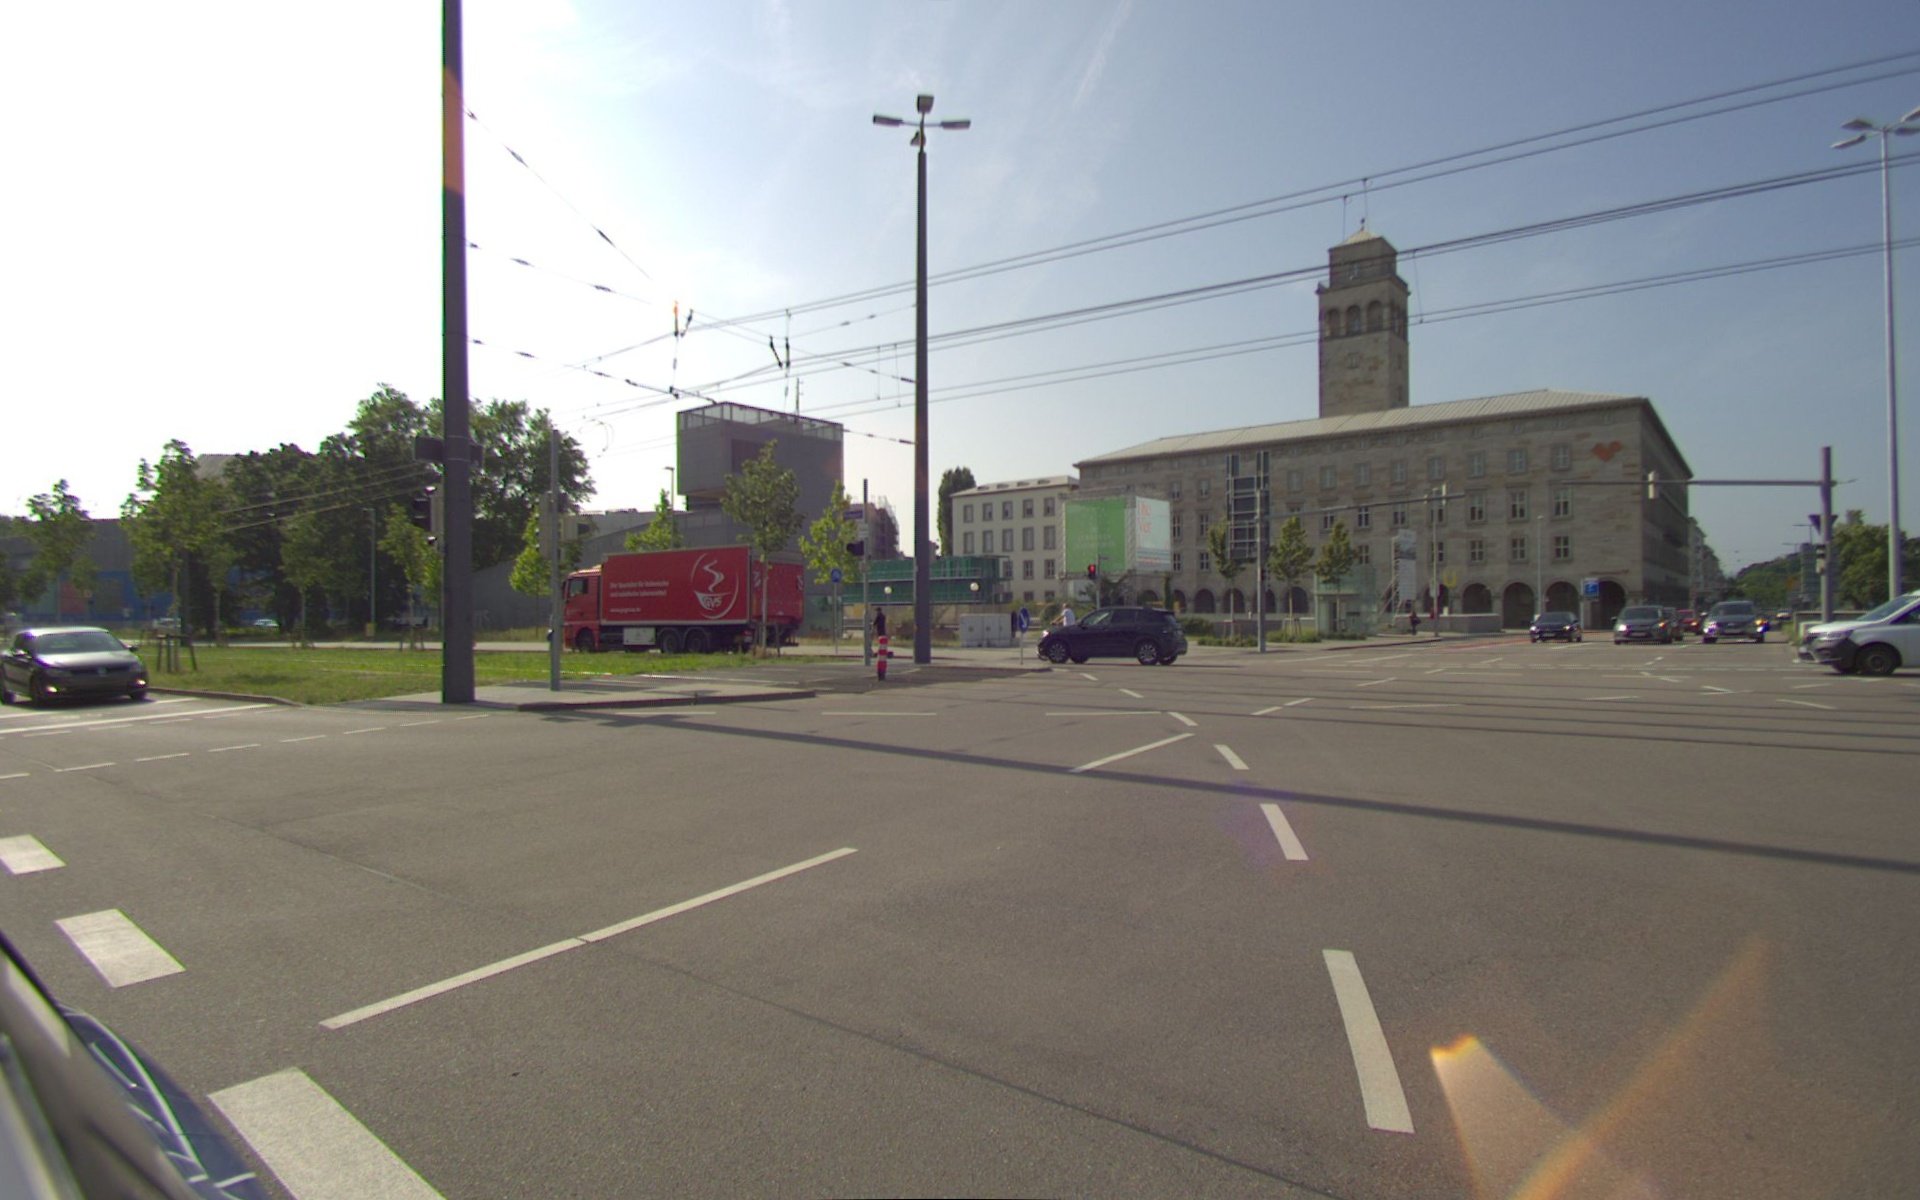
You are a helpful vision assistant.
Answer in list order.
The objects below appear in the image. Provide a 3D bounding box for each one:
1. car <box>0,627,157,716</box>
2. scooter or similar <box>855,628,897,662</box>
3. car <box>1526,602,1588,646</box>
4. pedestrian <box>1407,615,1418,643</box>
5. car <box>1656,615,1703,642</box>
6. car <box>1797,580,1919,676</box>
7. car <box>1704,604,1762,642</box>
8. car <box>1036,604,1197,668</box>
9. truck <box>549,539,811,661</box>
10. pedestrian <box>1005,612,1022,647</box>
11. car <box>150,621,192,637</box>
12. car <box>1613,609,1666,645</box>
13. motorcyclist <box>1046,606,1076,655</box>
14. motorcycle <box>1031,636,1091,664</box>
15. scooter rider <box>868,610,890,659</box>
[{"bbox_3d":[-17.139,1.303,19.452,3.862,1.443,1.689,-2,1,37],"label":"car"},{"bbox_3d":[-2.925,1.546,35.279,1.378,1.155,0.535,-1,-1,30],"label":"scooter or similar"},{"bbox_3d":[28.833,1.136,48.823,1.998,2.029,3.947,-1,-1,39],"label":"car"},{"bbox_3d":[28.768,1.831,64.327,0.575,1.744,0.643,-1,-1,24],"label":"pedestrian"},{"bbox_3d":[42.104,1.644,59.212,1.833,1.518,3.963,-2,-1,41],"label":"car"},{"bbox_3d":[19.259,0.518,19.530,4.499,1.802,1.605,-1,-1,29],"label":"car"},{"bbox_3d":[30.229,0.875,39.630,1.565,1.431,3.303,-1,-1,34],"label":"car"},{"bbox_3d":[4.195,0.954,27.283,3.982,1.613,1.629,-1,-1,29],"label":"car"},{"bbox_3d":[-10.142,0.103,35.855,10.395,3.838,2.947,-1,-1,34],"label":"truck"},{"bbox_3d":[2.692,1.486,50.932,0.537,1.710,0.599,-2,-1,40],"label":"pedestrian"},{"bbox_3d":[-89.719,3.322,115.123,4.801,1.781,2.000,-1,-1,28],"label":"car"},{"bbox_3d":[27.856,1.082,41.496,1.705,1.391,3.612,-1,-1,34],"label":"car"},{"bbox_3d":[3.190,0.969,31.951,0.857,1.539,0.388,-2,-1,29],"label":"motorcyclist"},{"bbox_3d":[3.185,1.568,31.924,1.814,0.839,0.515,-1,-1,29],"label":"motorcycle"},{"bbox_3d":[-2.822,1.193,35.233,0.547,1.710,0.533,-1,-1,30],"label":"scooter rider"}]
